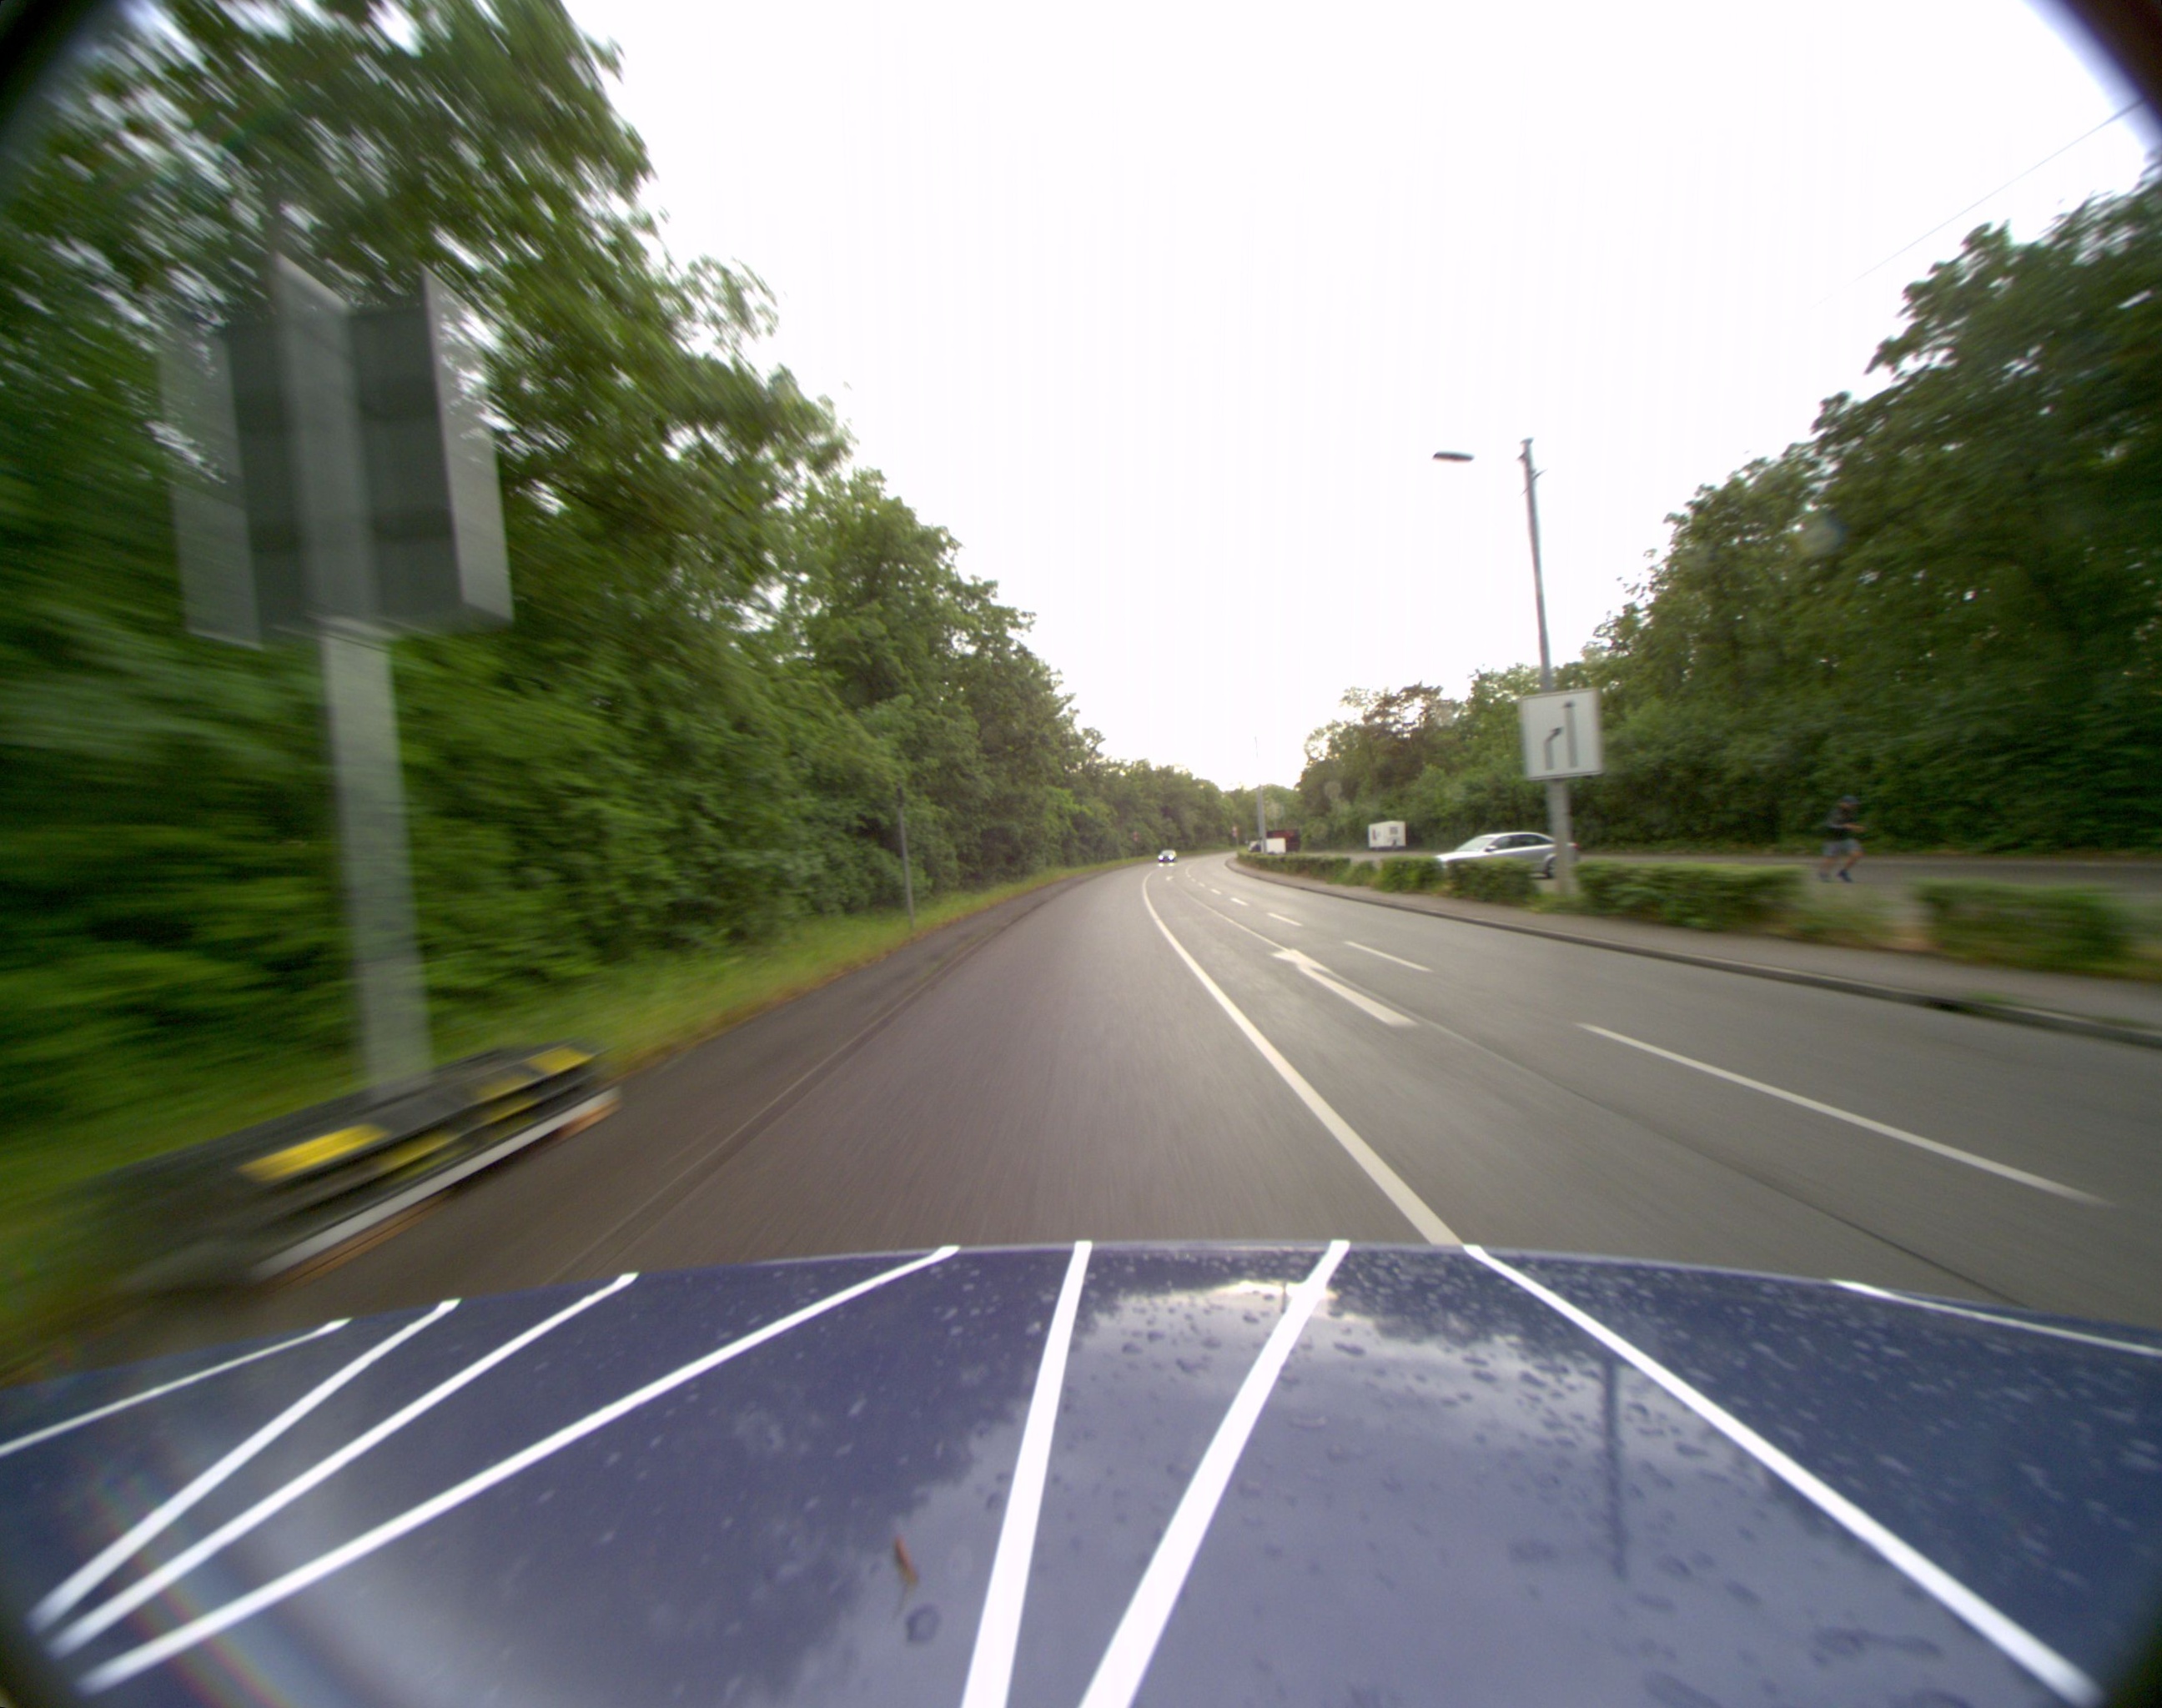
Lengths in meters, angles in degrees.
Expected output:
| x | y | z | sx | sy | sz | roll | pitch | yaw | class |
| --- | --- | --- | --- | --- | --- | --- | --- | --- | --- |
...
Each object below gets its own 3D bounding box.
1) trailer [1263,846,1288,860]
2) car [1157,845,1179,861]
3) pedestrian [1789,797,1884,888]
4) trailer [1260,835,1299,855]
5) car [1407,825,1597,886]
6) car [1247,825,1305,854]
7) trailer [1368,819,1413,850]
| x | y | z | sx | sy | sz | roll | pitch | yaw | class |
| --- | --- | --- | --- | --- | --- | --- | --- | --- | --- |
| 16.462 | -0.092 | 64.259 | 1.805 | 1.028 | 1.334 | -3 | 1 | 6 | trailer |
| 10.156 | -0.110 | 88.347 | 1.997 | 1.674 | 4.003 | -2 | 1 | 13 | car |
| 15.675 | -0.234 | 15.796 | 0.819 | 1.787 | 1.135 | -3 | 1 | 3 | pedestrian |
| 21.986 | -1.015 | 84.211 | 3.993 | 2.041 | 1.874 | -2 | 1 | 13 | trailer |
| 12.537 | 0.049 | 22.832 | 4.587 | 1.497 | 1.999 | -3 | 1 | -2 | car |
| 22.903 | -1.714 | 89.564 | 6.283 | 3.096 | 2.753 | -3 | 2 | 10 | car |
| 31.113 | -1.969 | 76.698 | 2.480 | 2.857 | 7.981 | -2 | 1 | 9 | trailer |
